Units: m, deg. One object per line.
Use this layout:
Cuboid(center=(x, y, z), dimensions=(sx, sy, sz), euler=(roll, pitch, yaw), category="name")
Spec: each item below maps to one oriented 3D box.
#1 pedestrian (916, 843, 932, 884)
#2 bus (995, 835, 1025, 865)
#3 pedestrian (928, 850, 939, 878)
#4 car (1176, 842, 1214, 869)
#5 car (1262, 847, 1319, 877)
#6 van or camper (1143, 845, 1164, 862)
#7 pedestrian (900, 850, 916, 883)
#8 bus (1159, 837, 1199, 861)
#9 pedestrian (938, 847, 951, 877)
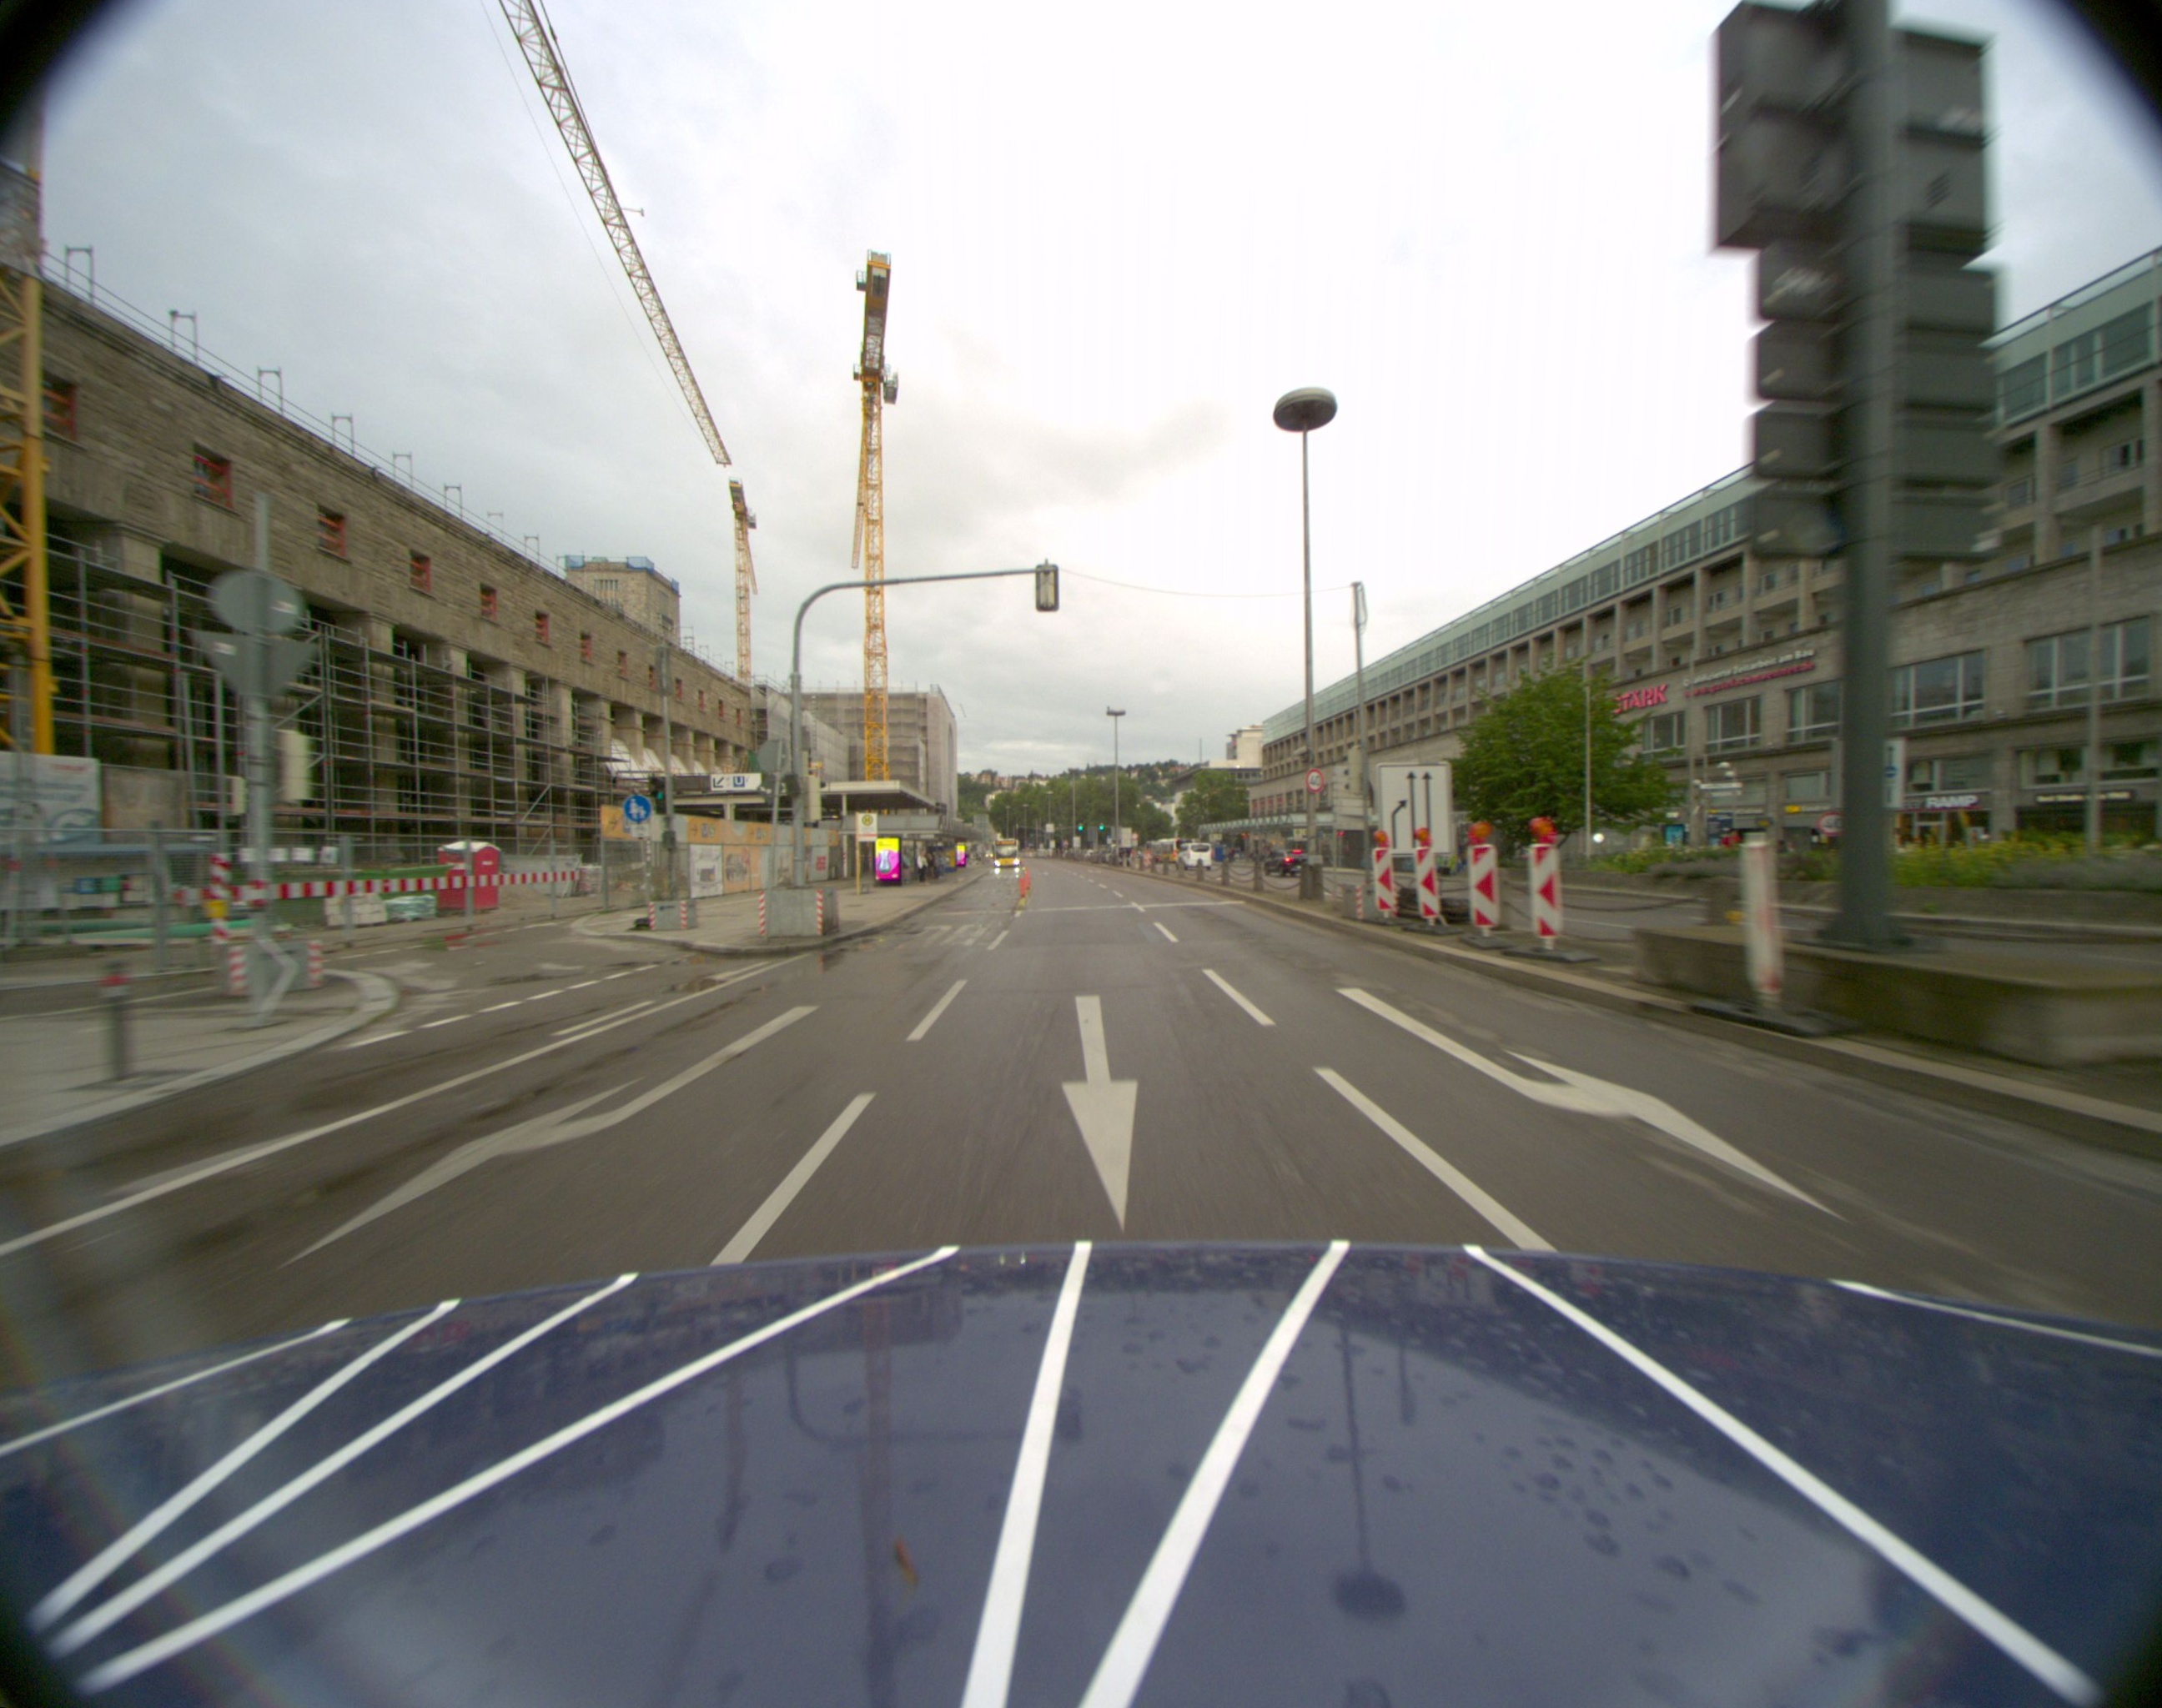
Cuboid(center=(-7.662, 0.451, 37.148), dimensions=(0.735, 2.002, 0.645), euler=(0, 1, -9), category="pedestrian")
Cuboid(center=(-7.719, -0.460, 82.755), dimensions=(3.000, 3.119, 7.761), euler=(-1, 0, -5), category="bus")
Cuboid(center=(-8.794, 0.576, 45.340), dimensions=(0.545, 1.684, 0.558), euler=(0, 1, 1), category="pedestrian")
Cuboid(center=(8.649, 0.091, 57.899), dimensions=(2.037, 1.962, 3.998), euler=(0, 1, -4), category="car")
Cuboid(center=(12.034, 0.429, 43.851), dimensions=(1.887, 1.674, 3.998), euler=(0, 1, -5), category="car")
Cuboid(center=(8.447, -0.063, 88.783), dimensions=(1.868, 2.002, 3.998), euler=(0, 1, -4), category="van or camper")
Cuboid(center=(-8.985, 0.649, 39.484), dimensions=(0.681, 1.684, 0.619), euler=(0, 1, 3), category="pedestrian")
Cuboid(center=(12.281, -0.680, 96.514), dimensions=(2.910, 2.923, 9.817), euler=(0, 0, -6), category="bus")
Cuboid(center=(-8.391, 0.488, 46.811), dimensions=(0.645, 1.813, 0.735), euler=(0, 1, 1), category="pedestrian")
